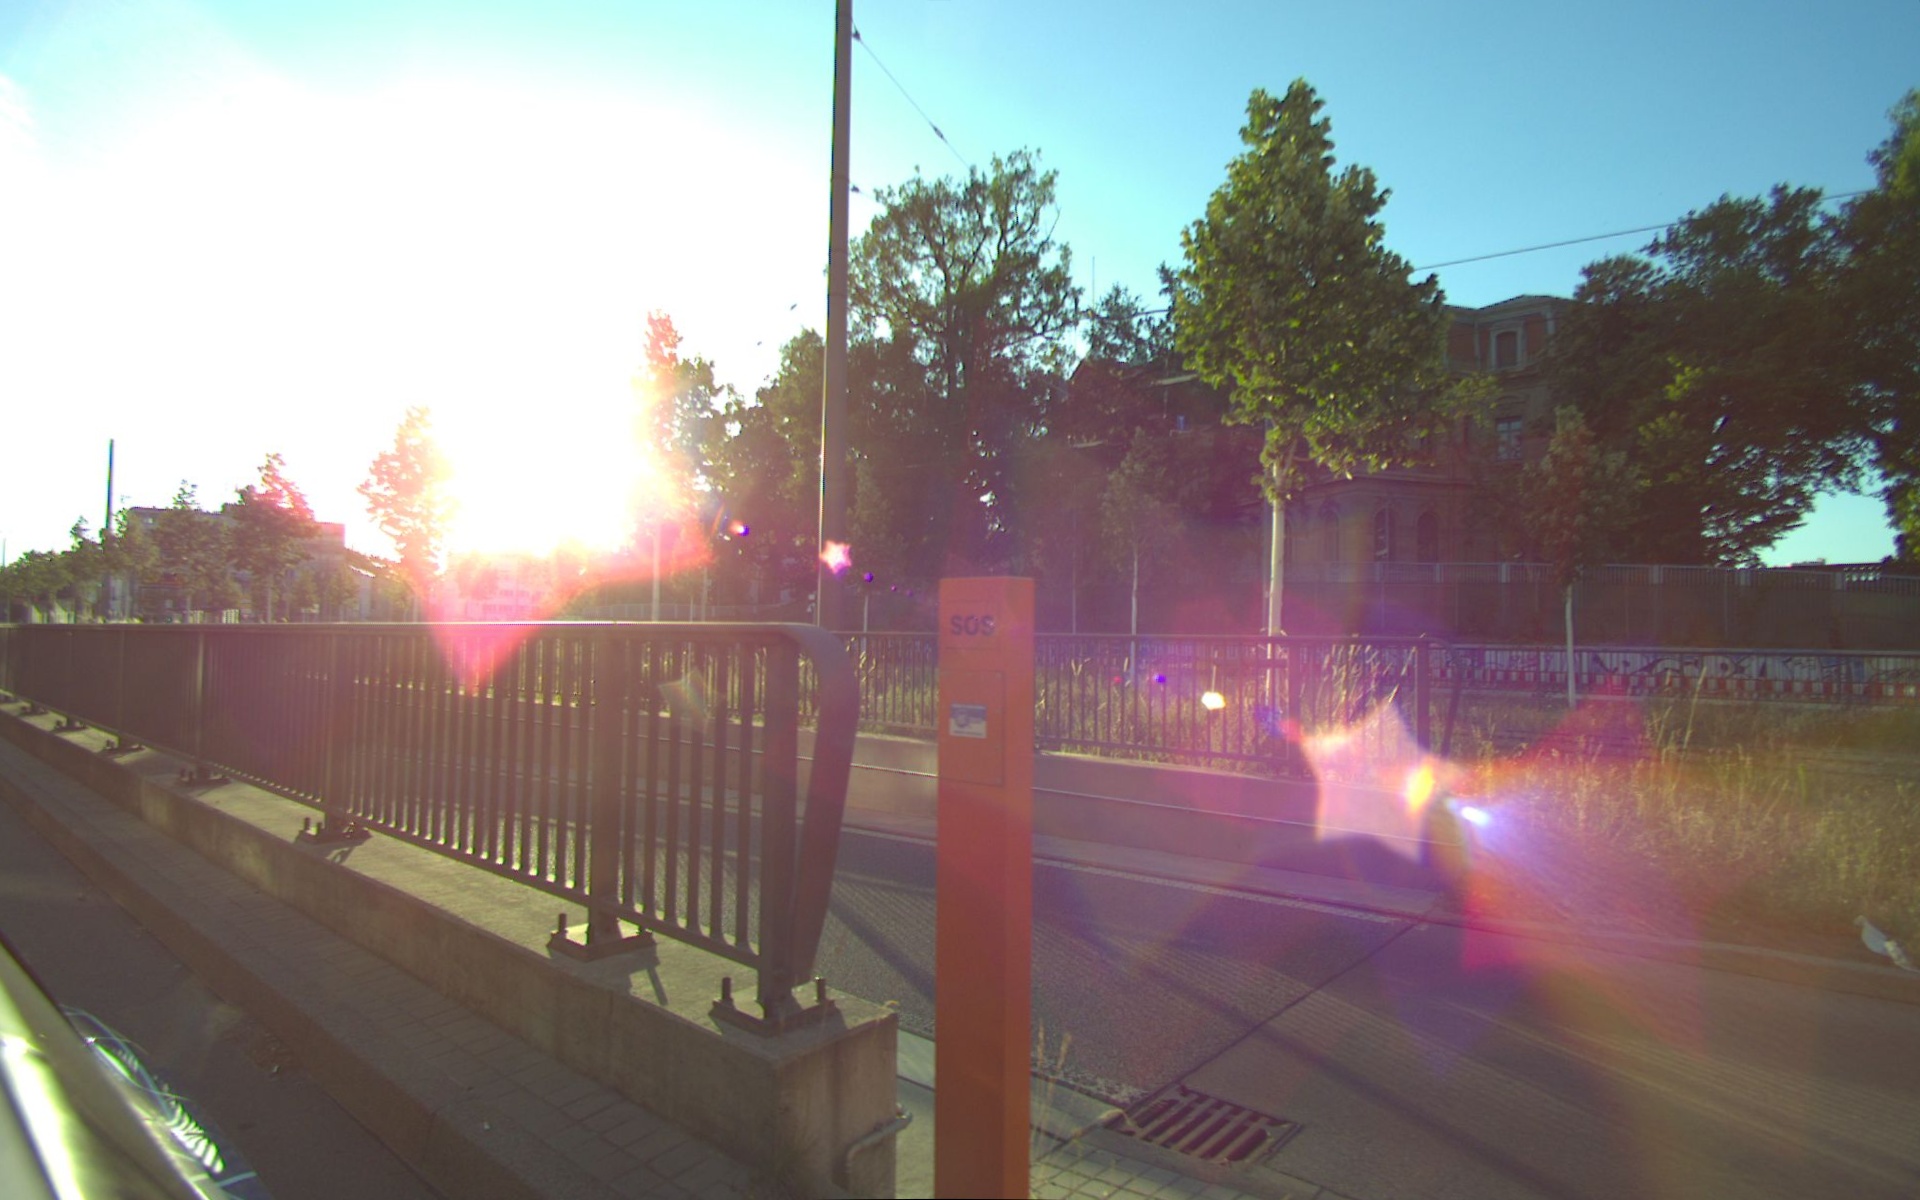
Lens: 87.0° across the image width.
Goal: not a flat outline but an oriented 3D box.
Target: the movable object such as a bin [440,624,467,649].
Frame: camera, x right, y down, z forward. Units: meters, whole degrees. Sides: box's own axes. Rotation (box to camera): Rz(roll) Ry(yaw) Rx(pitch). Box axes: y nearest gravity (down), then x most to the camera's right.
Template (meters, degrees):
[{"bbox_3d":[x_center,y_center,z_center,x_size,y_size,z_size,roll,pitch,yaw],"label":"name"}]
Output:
[{"bbox_3d":[-56.063,4.070,111.944,1.967,2.727,4.009,2,-2,-36],"label":"movable object such as a bin"}]

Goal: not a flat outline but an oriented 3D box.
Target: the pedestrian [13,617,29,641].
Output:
[{"bbox_3d":[-69.545,2.156,74.967,0.633,1.742,0.630,-1,-3,29],"label":"pedestrian"}]
